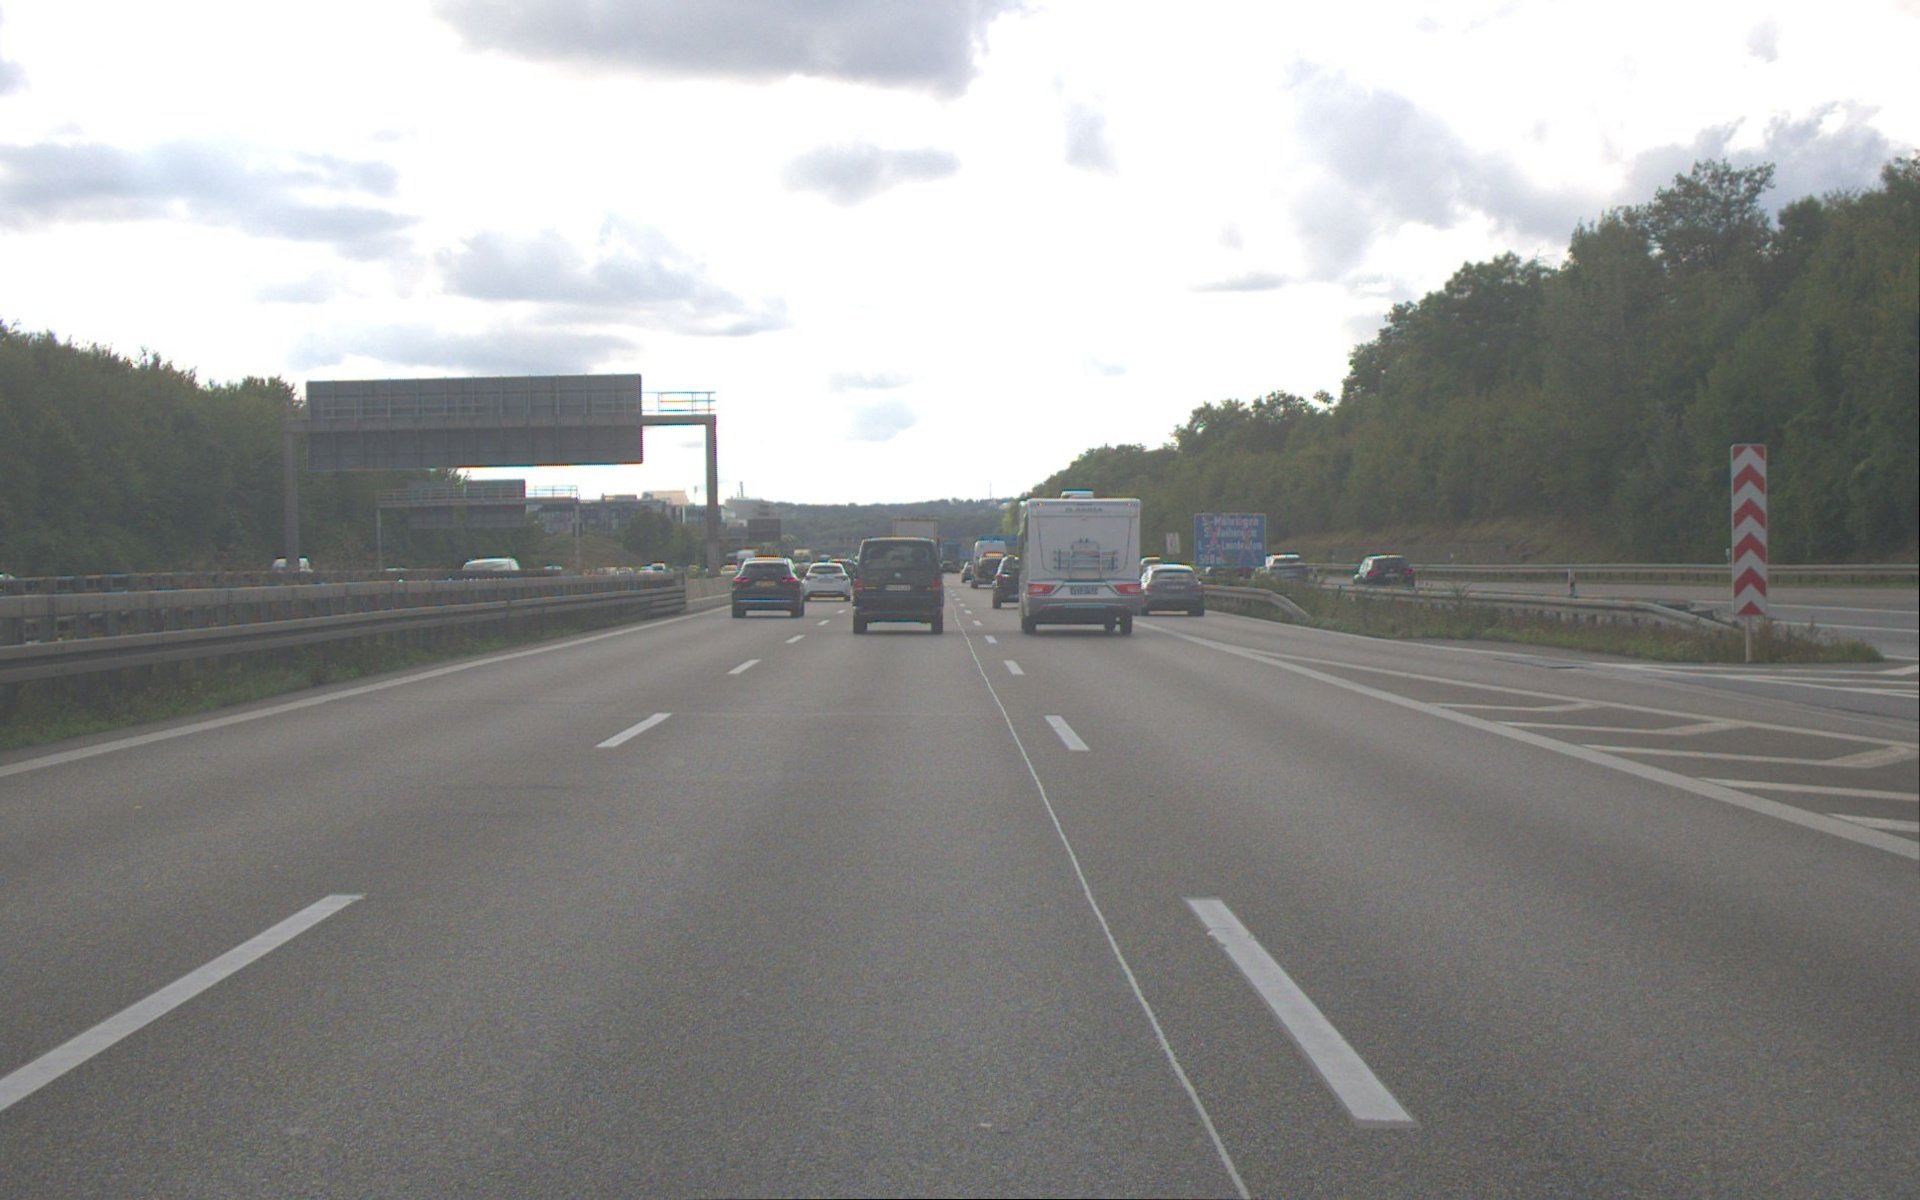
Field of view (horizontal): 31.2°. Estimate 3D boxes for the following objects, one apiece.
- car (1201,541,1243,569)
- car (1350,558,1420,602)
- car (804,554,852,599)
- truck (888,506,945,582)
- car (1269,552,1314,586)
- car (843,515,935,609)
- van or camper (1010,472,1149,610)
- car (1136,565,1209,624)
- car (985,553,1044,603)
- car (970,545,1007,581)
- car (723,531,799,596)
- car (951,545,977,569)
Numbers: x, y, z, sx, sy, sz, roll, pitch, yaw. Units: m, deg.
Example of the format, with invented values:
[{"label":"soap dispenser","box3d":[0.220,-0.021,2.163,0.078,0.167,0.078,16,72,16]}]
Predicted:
[{"label":"car","box3d":[14.734,-2.540,193.603,1.843,1.479,4.526,-2,1,-2]},{"label":"car","box3d":[15.300,-0.740,124.053,1.843,1.479,4.526,-2,1,-1]},{"label":"car","box3d":[-4.830,-0.875,126.190,1.697,1.605,4.114,0,1,-2]},{"label":"truck","box3d":[-2.542,-3.298,203.174,3.263,4.360,11.026,1,1,-1]},{"label":"car","box3d":[15.180,-1.442,157.611,1.541,1.479,3.942,-2,1,-1]},{"label":"car","box3d":[-1.467,-0.800,71.618,1.855,1.904,4.260,0,1,-1]},{"label":"van or camper","box3d":[2.420,-1.220,71.941,2.468,2.712,7.662,1,1,-1]},{"label":"car","box3d":[5.951,-0.177,96.496,1.697,1.605,3.896,0,1,-2]},{"label":"car","box3d":[1.735,-0.701,109.723,1.697,1.559,4.114,0,1,-2]},{"label":"car","box3d":[1.537,-2.025,187.606,1.913,1.912,4.030,0,1,-1]},{"label":"car","box3d":[-5.331,-0.974,92.413,1.873,1.692,4.072,0,0,-1]},{"label":"car","box3d":[0.284,-3.014,243.015,1.752,1.689,4.190,0,1,-1]}]
